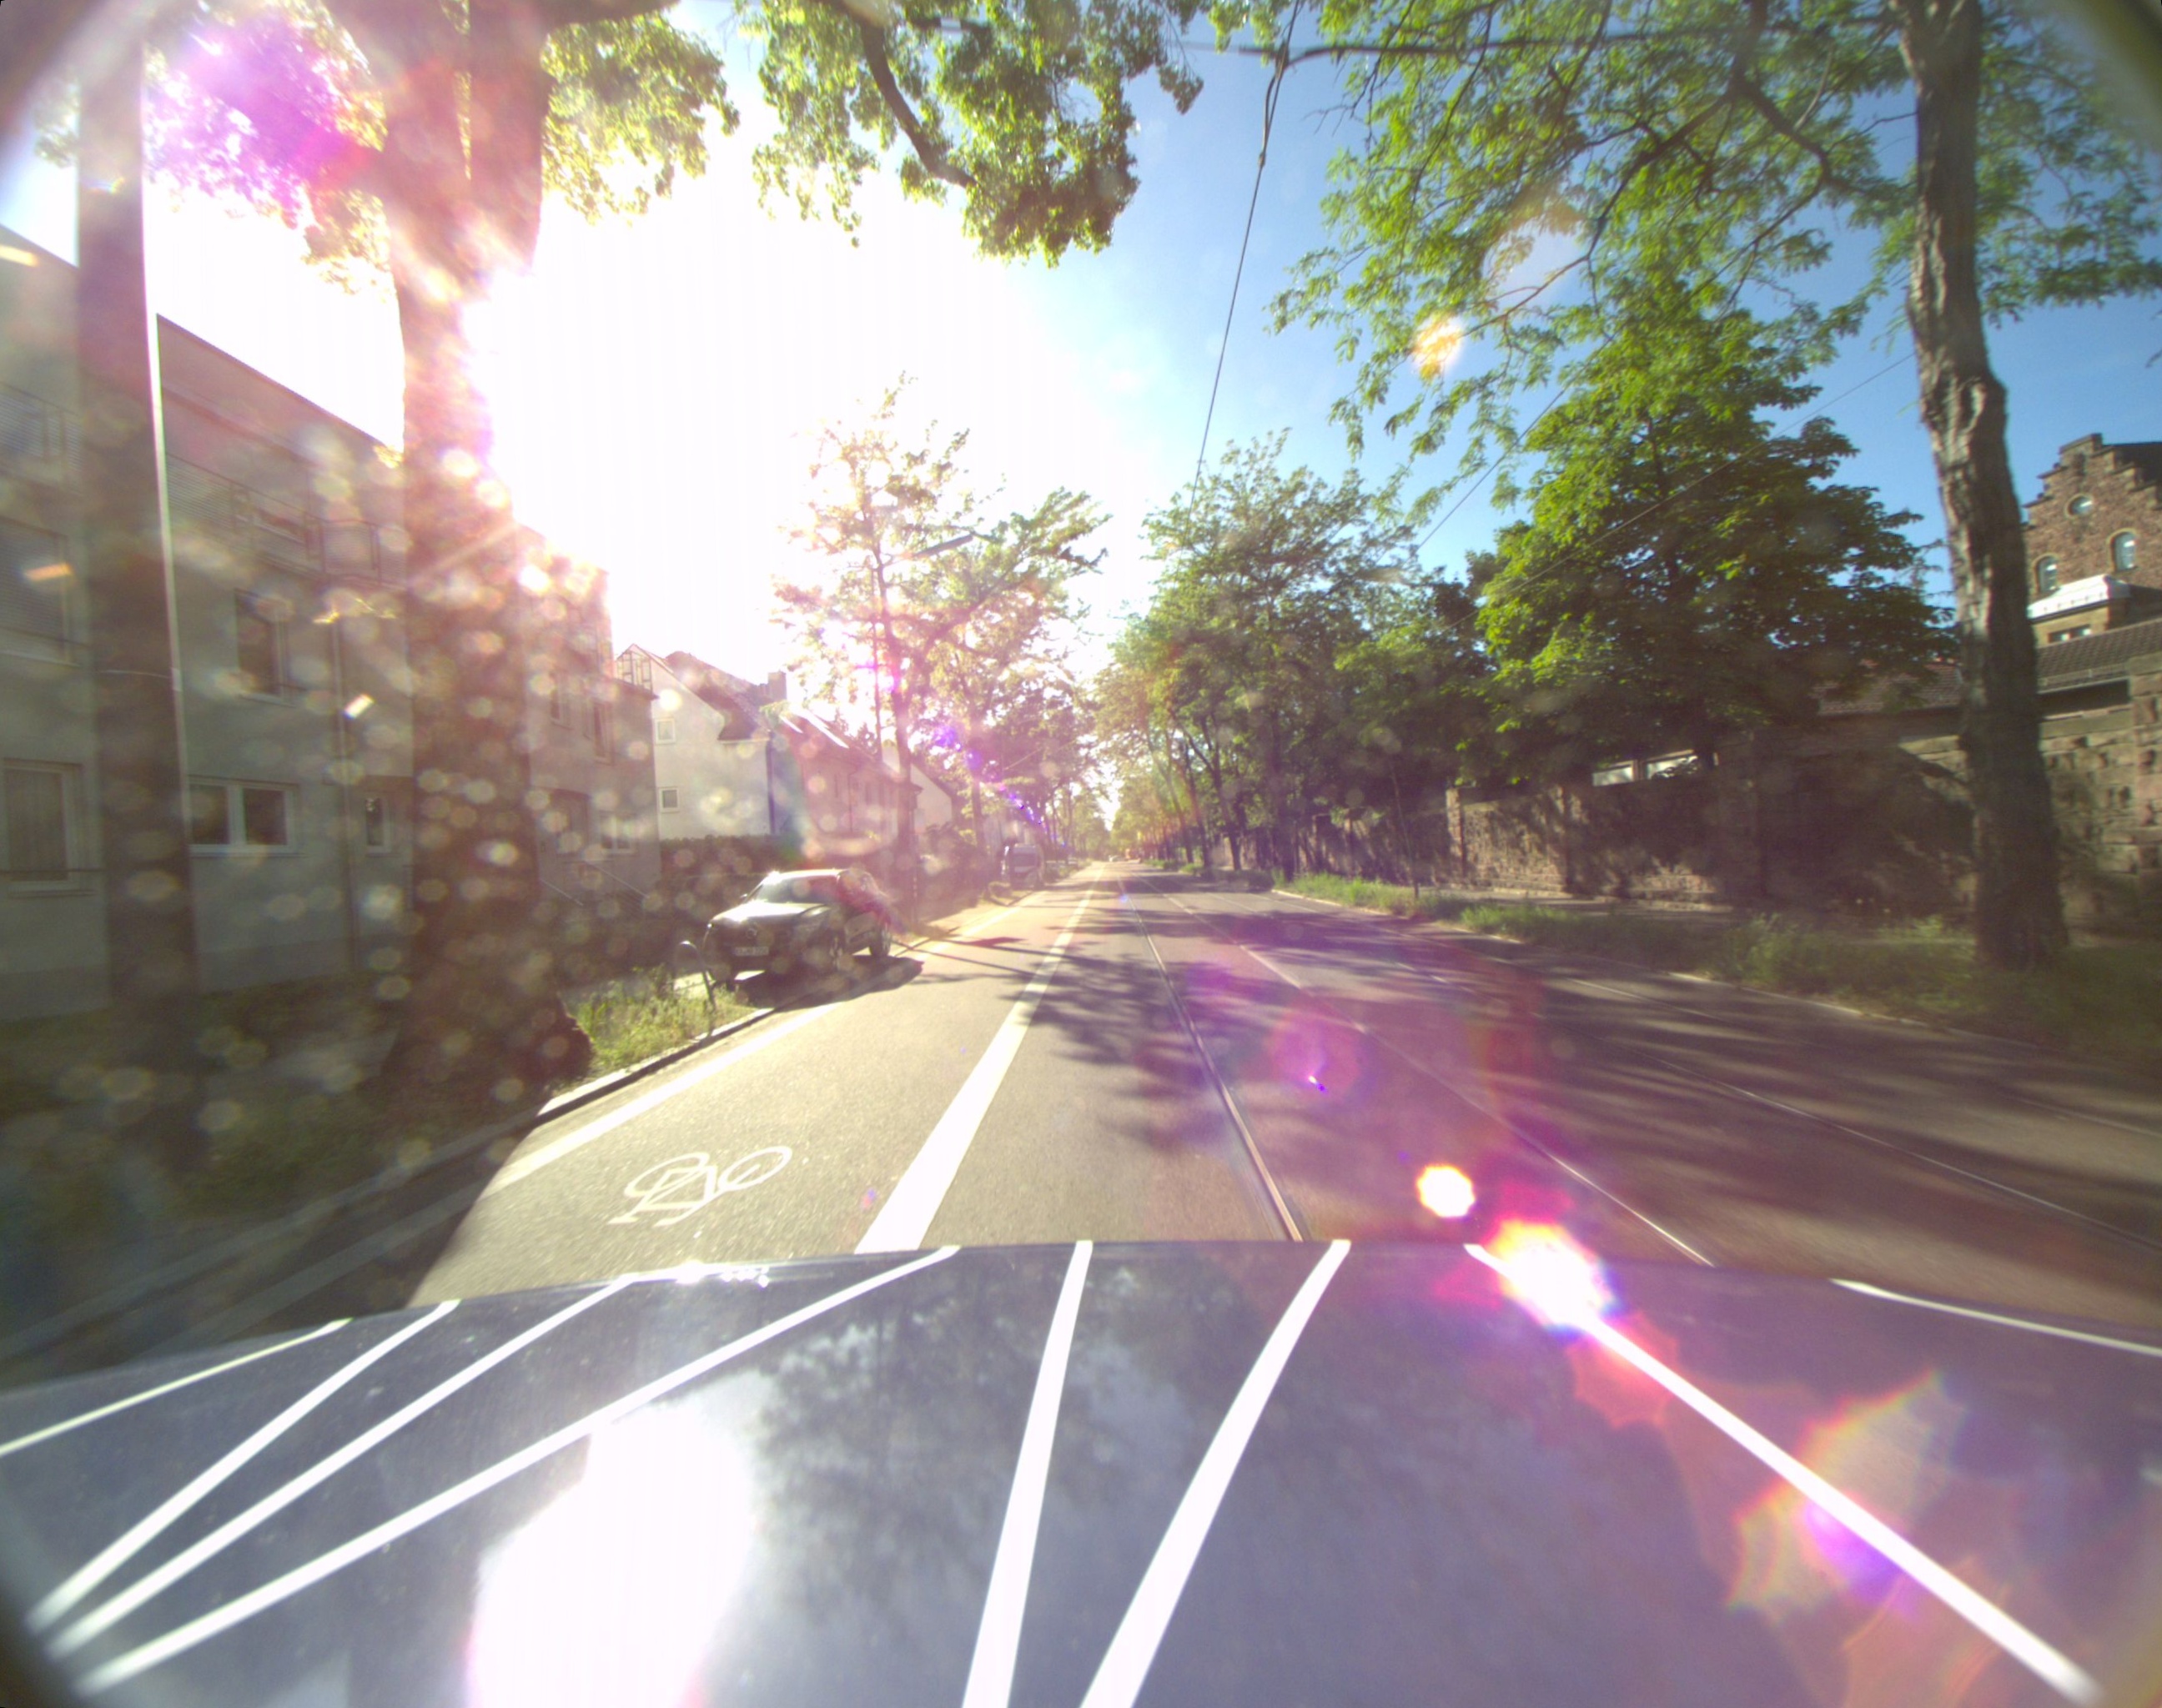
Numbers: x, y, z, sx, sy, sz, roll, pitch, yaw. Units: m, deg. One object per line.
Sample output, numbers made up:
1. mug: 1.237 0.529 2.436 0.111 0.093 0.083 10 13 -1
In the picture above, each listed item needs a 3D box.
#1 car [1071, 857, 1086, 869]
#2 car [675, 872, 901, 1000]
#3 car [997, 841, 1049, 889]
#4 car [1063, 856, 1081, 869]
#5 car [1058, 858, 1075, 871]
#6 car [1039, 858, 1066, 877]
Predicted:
1. car: -0.394 1.267 111.788 1.998 1.411 3.999 -3 2 2
2. car: -4.551 1.172 12.699 1.880 1.509 4.648 -3 0 0
3. car: -3.356 0.584 45.013 2.296 2.575 5.719 -3 1 2
4. car: -1.148 1.092 99.833 1.998 1.474 4.000 -3 0 2
5. car: -1.726 1.252 90.439 1.788 1.368 3.655 -3 0 2
6. car: -2.448 1.159 66.349 1.663 1.527 4.002 -3 0 6
